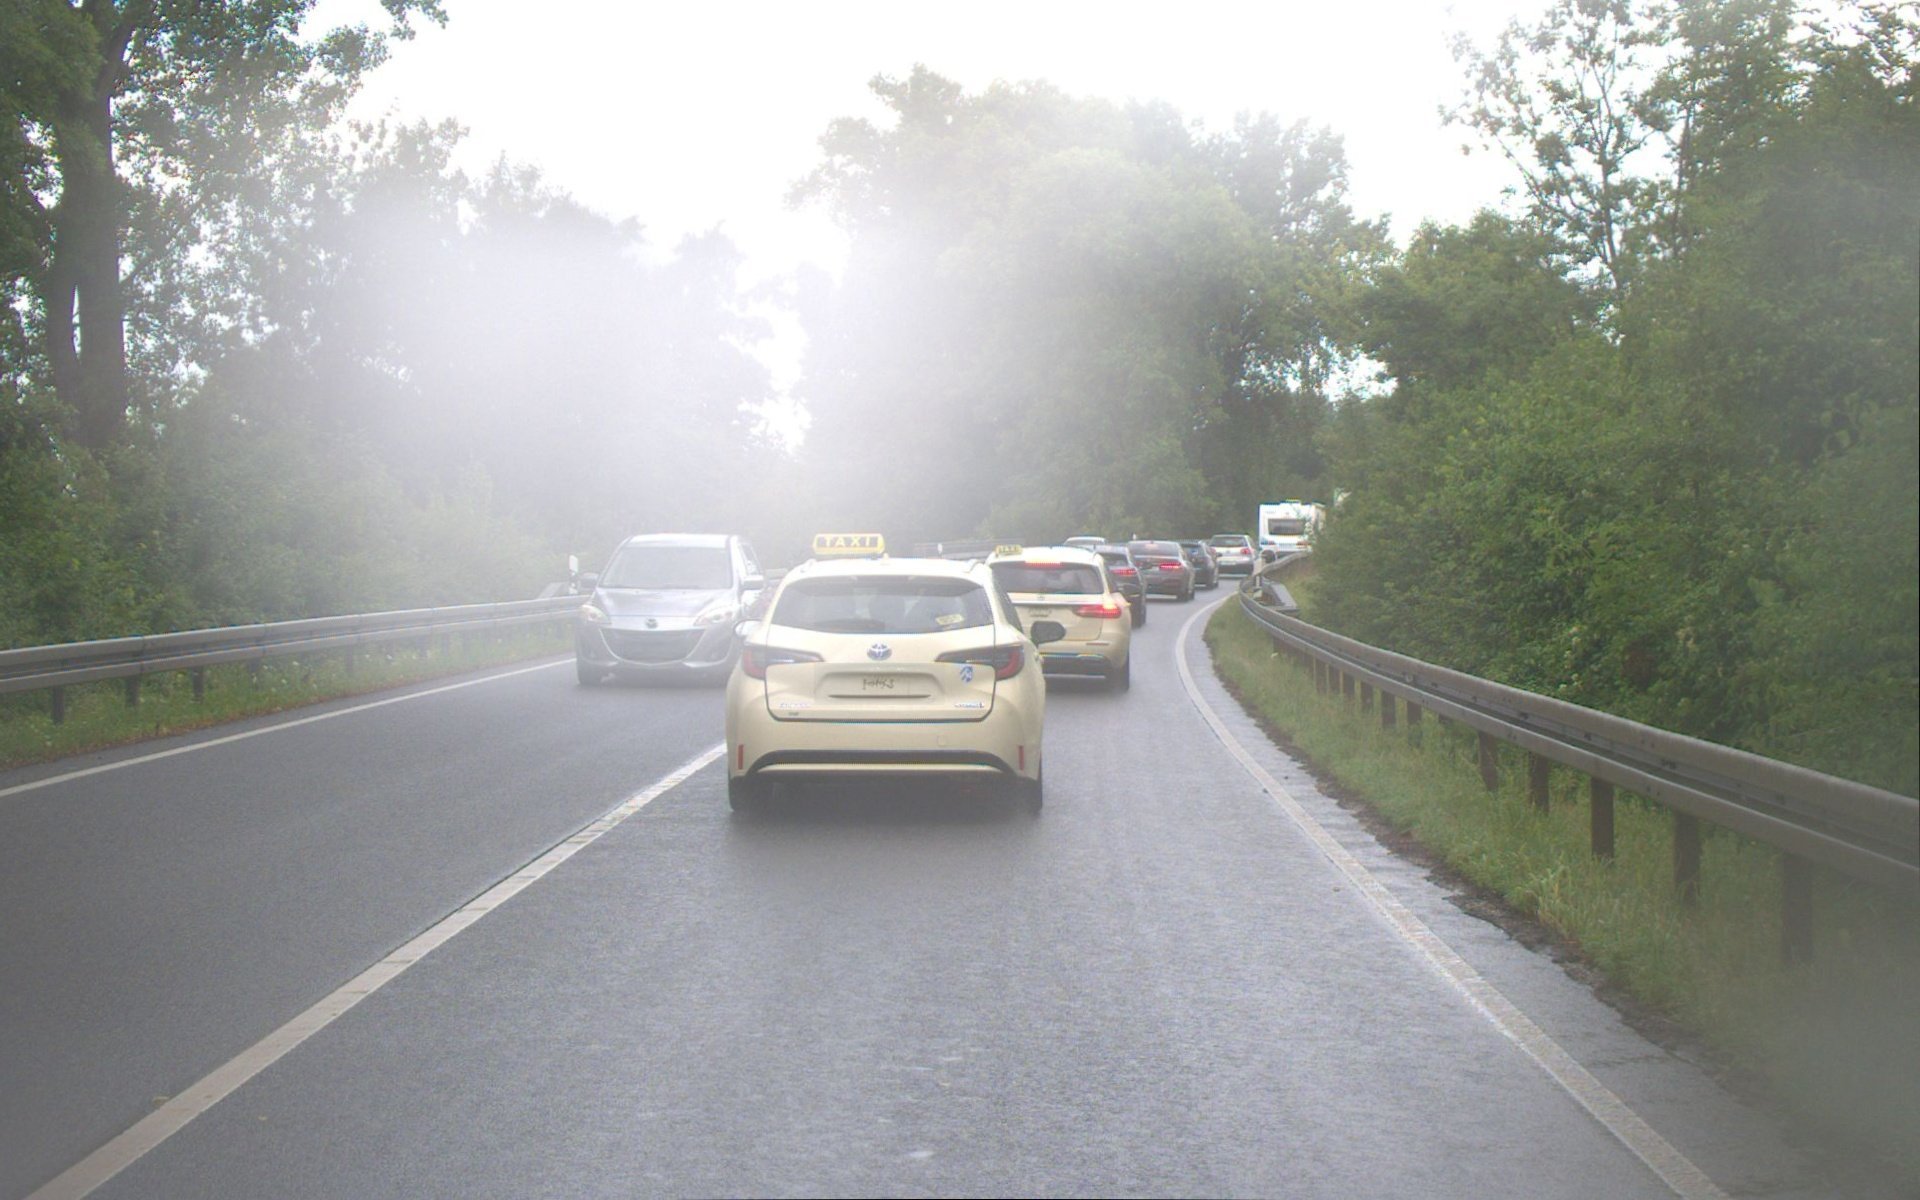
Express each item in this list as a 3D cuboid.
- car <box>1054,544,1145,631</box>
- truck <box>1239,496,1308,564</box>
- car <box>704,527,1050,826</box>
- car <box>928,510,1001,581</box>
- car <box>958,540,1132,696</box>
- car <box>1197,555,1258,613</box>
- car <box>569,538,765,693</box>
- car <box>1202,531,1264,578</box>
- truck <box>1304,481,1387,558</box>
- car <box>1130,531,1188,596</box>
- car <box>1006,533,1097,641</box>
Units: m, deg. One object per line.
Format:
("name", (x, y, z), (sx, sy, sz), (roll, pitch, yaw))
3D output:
("car", (2.538, -0.207, 63.368), (1.611, 1.541, 3.813), (0, -1, 1))
("truck", (13.093, -2.878, 143.831), (2.550, 2.704, 7.534), (0, 0, 3))
("car", (-0.393, 0.402, 20.359), (1.834, 1.575, 4.156), (0, 0, 1))
("car", (0.157, -1.570, 100.815), (1.993, 2.007, 4.000), (0, 0, 2))
("car", (0.962, 0.174, 36.870), (1.668, 1.575, 3.891), (0, 0, 4))
("car", (7.546, -0.452, 96.796), (1.616, 1.607, 3.621), (0, 0, 5))
("car", (-3.133, 0.123, 37.477), (1.692, 1.568, 4.374), (0, 1, 1))
("car", (9.230, -1.531, 116.101), (1.770, 1.541, 3.812), (0, 0, 9))
("truck", (19.286, -3.971, 171.688), (3.109, 3.668, 6.995), (0, 0, 14))
("car", (4.806, -0.866, 82.945), (1.167, 1.541, 2.603), (0, 0, 8))
("car", (1.336, -0.187, 50.885), (1.300, 1.541, 3.260), (0, 0, 1))
